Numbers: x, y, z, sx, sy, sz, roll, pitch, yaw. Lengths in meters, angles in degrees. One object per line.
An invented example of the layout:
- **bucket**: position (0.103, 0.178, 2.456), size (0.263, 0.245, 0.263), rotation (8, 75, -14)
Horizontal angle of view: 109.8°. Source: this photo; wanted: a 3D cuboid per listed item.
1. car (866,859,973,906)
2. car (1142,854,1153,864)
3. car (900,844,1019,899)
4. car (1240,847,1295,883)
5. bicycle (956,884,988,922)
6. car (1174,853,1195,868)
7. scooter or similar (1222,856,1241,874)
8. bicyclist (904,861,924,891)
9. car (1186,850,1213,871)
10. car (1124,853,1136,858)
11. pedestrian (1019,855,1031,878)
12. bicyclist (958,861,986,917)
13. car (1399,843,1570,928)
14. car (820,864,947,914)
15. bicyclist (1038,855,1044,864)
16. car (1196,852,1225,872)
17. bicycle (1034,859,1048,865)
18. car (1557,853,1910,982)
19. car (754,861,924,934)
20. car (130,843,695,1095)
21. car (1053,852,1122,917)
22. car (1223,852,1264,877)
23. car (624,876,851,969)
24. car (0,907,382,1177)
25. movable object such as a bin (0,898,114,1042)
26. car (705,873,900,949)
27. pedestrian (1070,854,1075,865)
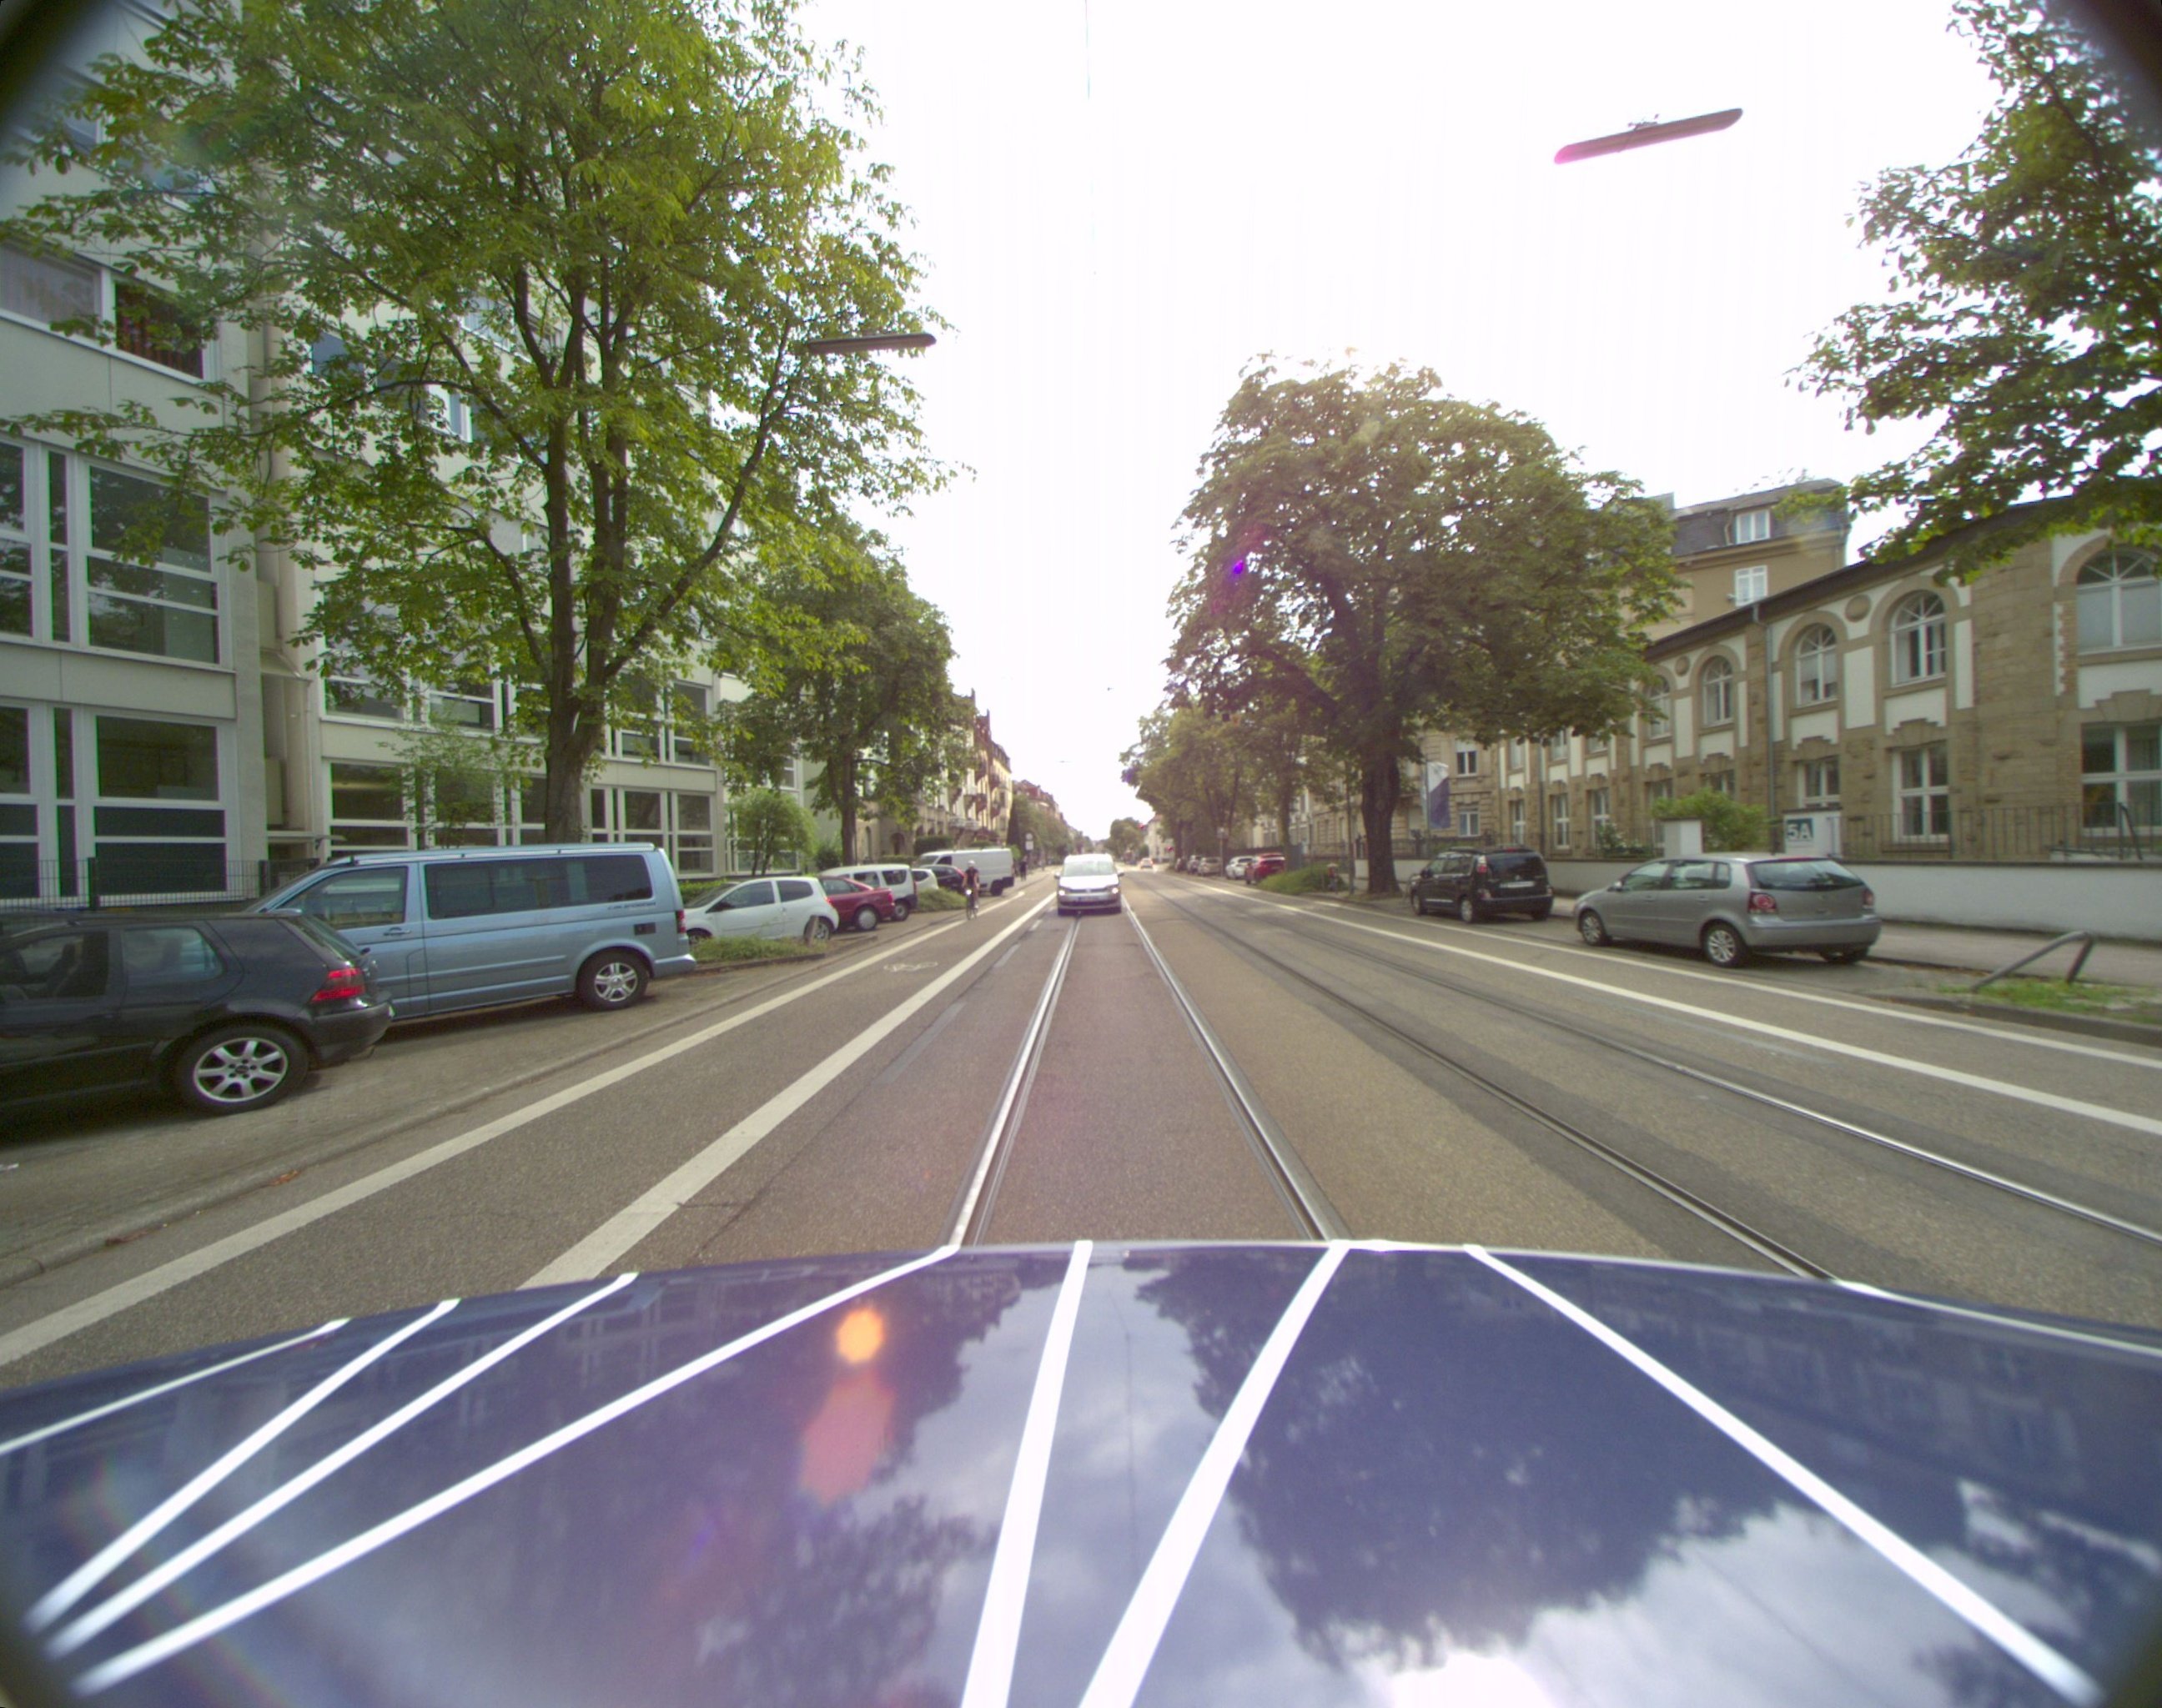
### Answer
- **car**: position (-6.594, 1.136, 31.276), size (3.968, 1.639, 1.685), rotation (-3, 1, -43)
- **car**: position (9.368, 0.651, 106.639), size (1.574, 1.408, 4.002), rotation (0, 0, 5)
- **car**: position (-5.644, 0.774, 35.670), size (4.968, 2.277, 2.378), rotation (-3, 1, -41)
- **car**: position (9.794, 0.548, 40.280), size (1.725, 1.645, 4.542), rotation (-4, 0, 0)
- **bicycle**: position (-3.167, 1.395, 22.224), size (0.640, 0.975, 2.071), rotation (-1, 0, -1)
- **car**: position (10.721, 0.649, 78.771), size (1.724, 1.416, 4.166), rotation (-4, 0, 3)
- **scooter or similar**: position (10.328, 0.758, 52.223), size (0.563, 1.216, 1.321), rotation (-2, 0, -22)
- **bicyclist**: position (-8.324, 1.096, 37.961), size (0.648, 1.461, 0.802), rotation (1, 0, 17)
- **car**: position (10.379, 0.554, 66.668), size (1.714, 1.664, 4.357), rotation (-2, 0, 1)
- **car**: position (16.573, 0.479, 258.866), size (3.996, 1.716, 1.877), rotation (-3, 0, 4)
- **pedestrian**: position (-4.181, 0.921, 57.011), size (0.787, 1.723, 0.896), rotation (1, 0, 1)
- **bicyclist**: position (-3.175, 1.010, 22.172), size (0.640, 1.561, 1.110), rotation (-1, 0, -1)
- **car**: position (9.042, 0.632, 17.439), size (1.760, 1.637, 4.052), rotation (-3, 0, 1)
- **car**: position (-7.089, 1.224, 27.552), size (4.100, 1.502, 1.685), rotation (-3, 1, -43)
- **bicyclist**: position (-6.696, 0.960, 126.919), size (0.709, 1.421, 0.616), rotation (-2, 1, 27)
- **car**: position (10.080, 0.634, 59.235), size (1.604, 1.459, 4.079), rotation (-2, 0, 1)
- **bicycle**: position (-6.678, 1.360, 126.910), size (2.195, 1.019, 0.616), rotation (-2, 1, 27)
- **car**: position (8.857, 0.742, 10.832), size (1.697, 1.419, 3.868), rotation (-3, 0, 1)
- **car**: position (-6.623, 1.115, 21.074), size (4.116, 1.658, 1.685), rotation (-3, 1, -44)
- **car**: position (-6.945, 0.961, 8.478), size (4.284, 2.003, 1.826), rotation (-3, 1, -43)
- **car**: position (0.259, 0.836, 22.807), size (1.767, 1.661, 4.330), rotation (-3, 0, 2)
- **car**: position (10.411, 0.662, 48.948), size (1.725, 1.415, 4.023), rotation (-4, 0, 0)
- **car**: position (-6.744, 1.250, 15.144), size (3.723, 1.424, 1.685), rotation (-3, 1, -43)
- **car**: position (-7.287, 1.250, 4.991), size (1.672, 1.451, 3.836), rotation (-2, 1, 45)
- **movable object such as a bin**: position (-12.163, 1.298, 8.434), size (1.072, 1.499, 1.323), rotation (-3, 0, 2)
- **car**: position (-6.593, 1.270, 18.209), size (3.983, 1.424, 1.685), rotation (-3, 1, -41)
- **pedestrian**: position (-1.338, 0.809, 115.917), size (0.721, 1.651, 0.759), rotation (2, 0, -2)
